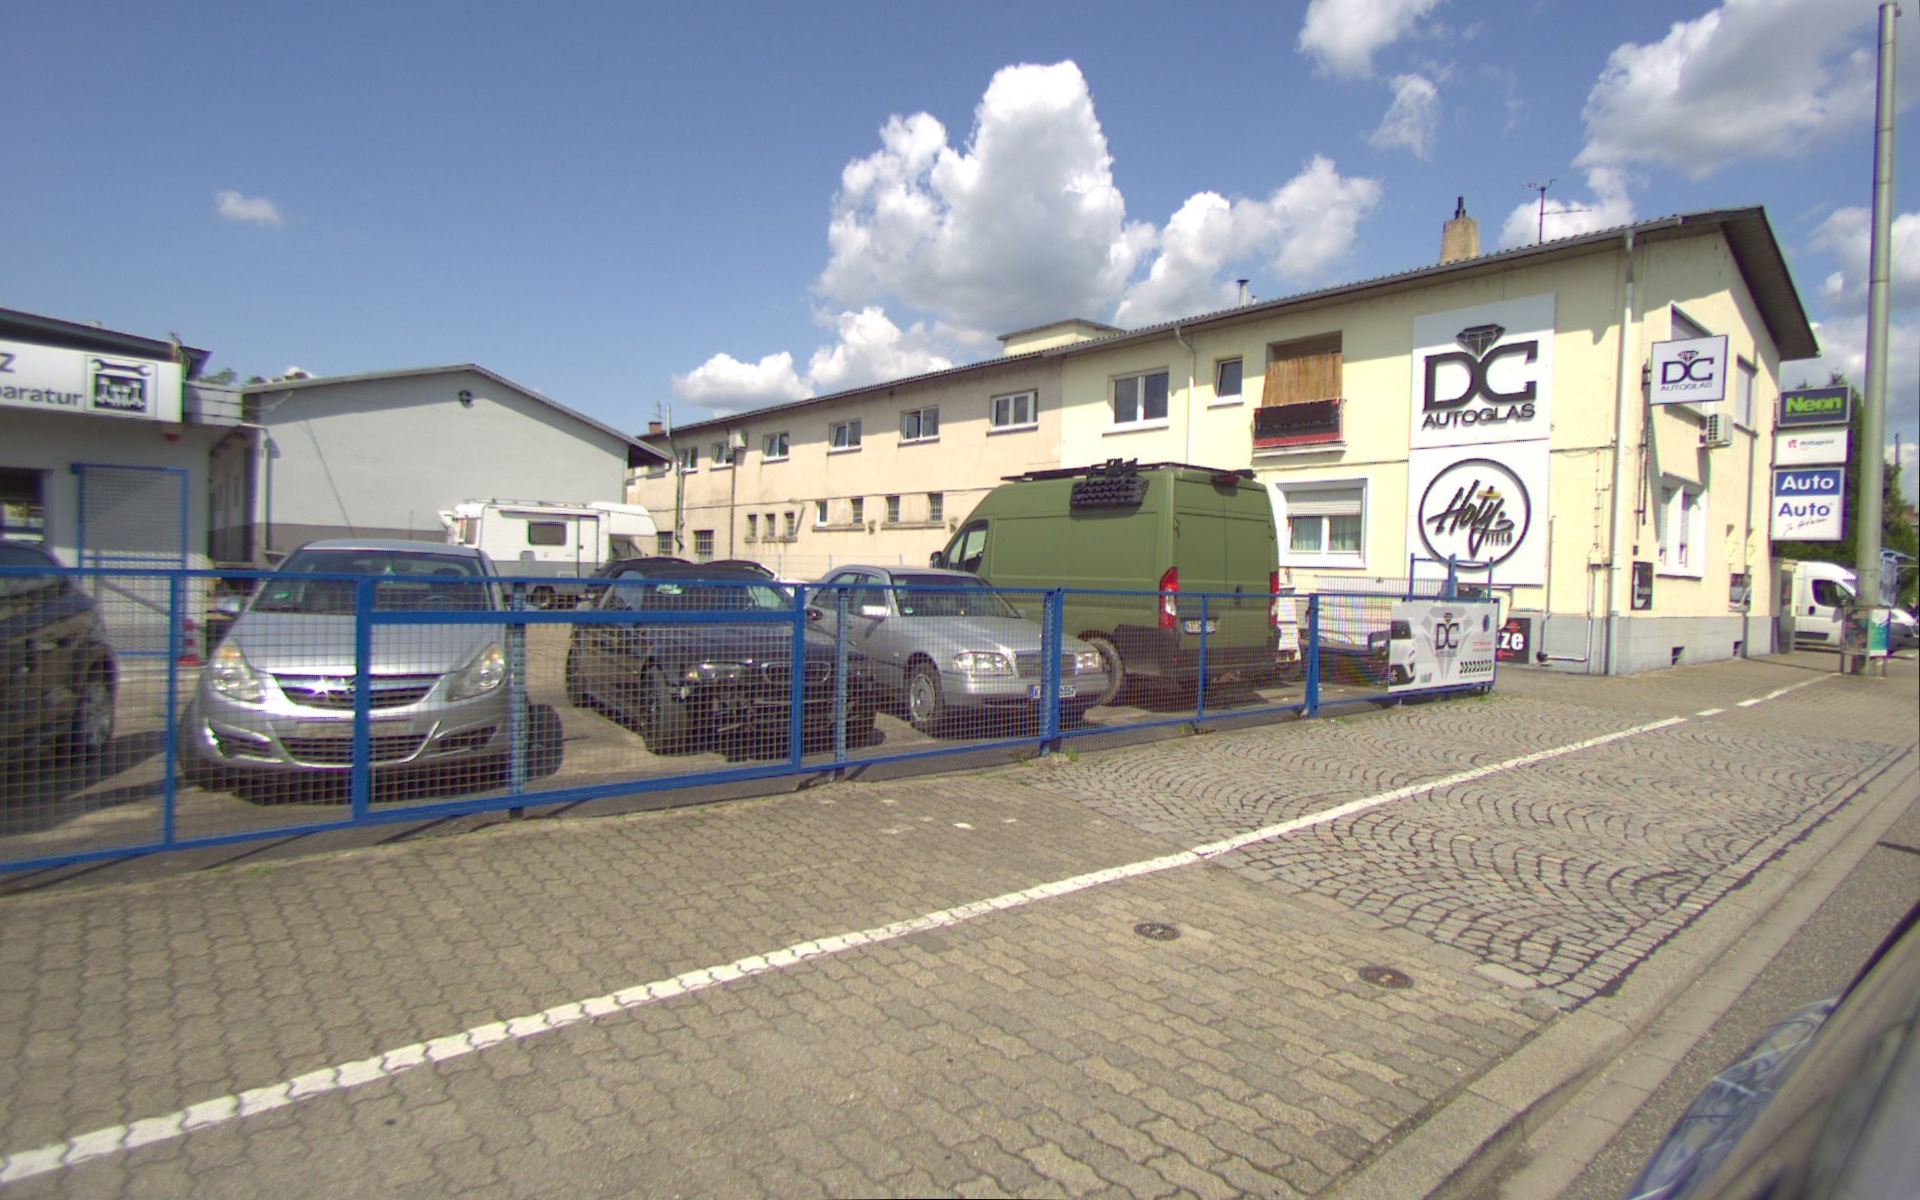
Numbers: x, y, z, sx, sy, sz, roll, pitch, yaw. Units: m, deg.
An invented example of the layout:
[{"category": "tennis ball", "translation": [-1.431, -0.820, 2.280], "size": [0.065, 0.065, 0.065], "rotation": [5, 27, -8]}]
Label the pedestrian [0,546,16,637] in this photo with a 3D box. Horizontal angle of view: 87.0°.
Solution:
[{"category": "pedestrian", "translation": [-13.258, -0.128, 13.839], "size": [0.479, 1.228, 0.501], "rotation": [1, 1, -42]}]

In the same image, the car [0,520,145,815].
[{"category": "car", "translation": [-5.746, 0.324, 5.032], "size": [1.685, 1.497, 4.012], "rotation": [1, 2, -25]}]

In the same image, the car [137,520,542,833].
[{"category": "car", "translation": [-3.950, 0.302, 7.100], "size": [1.766, 1.497, 4.158], "rotation": [1, 2, -24]}]

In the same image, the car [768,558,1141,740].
[{"category": "car", "translation": [-0.295, 0.320, 10.204], "size": [1.768, 1.413, 4.216], "rotation": [1, 2, -33]}]

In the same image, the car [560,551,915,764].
[{"category": "car", "translation": [-2.124, 0.310, 8.744], "size": [1.768, 1.403, 3.837], "rotation": [1, 2, -32]}]

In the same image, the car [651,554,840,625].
[{"category": "car", "translation": [-4.925, -0.246, 23.517], "size": [3.939, 1.497, 1.719], "rotation": [0, 2, -41]}]

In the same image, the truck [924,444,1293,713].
[{"category": "truck", "translation": [1.624, -0.285, 12.144], "size": [2.033, 2.639, 3.996], "rotation": [1, 2, -40]}]

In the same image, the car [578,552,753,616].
[{"category": "car", "translation": [-7.478, -0.411, 25.888], "size": [3.939, 1.497, 1.719], "rotation": [0, 2, -41]}]

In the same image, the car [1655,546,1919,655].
[{"category": "car", "translation": [22.715, -0.085, 27.407], "size": [1.963, 2.404, 5.989], "rotation": [1, 5, -38]}]

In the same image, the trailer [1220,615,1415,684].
[{"category": "trailer", "translation": [5.083, 0.670, 14.527], "size": [1.245, 0.776, 2.330], "rotation": [0, 2, -39]}]

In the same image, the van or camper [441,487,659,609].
[{"category": "van or camper", "translation": [-11.007, -1.324, 27.366], "size": [4.971, 2.999, 2.284], "rotation": [0, 2, -42]}]

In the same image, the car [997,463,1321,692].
[{"category": "car", "translation": [2.613, -0.345, 14.141], "size": [1.771, 2.702, 4.208], "rotation": [1, 2, -40]}]
